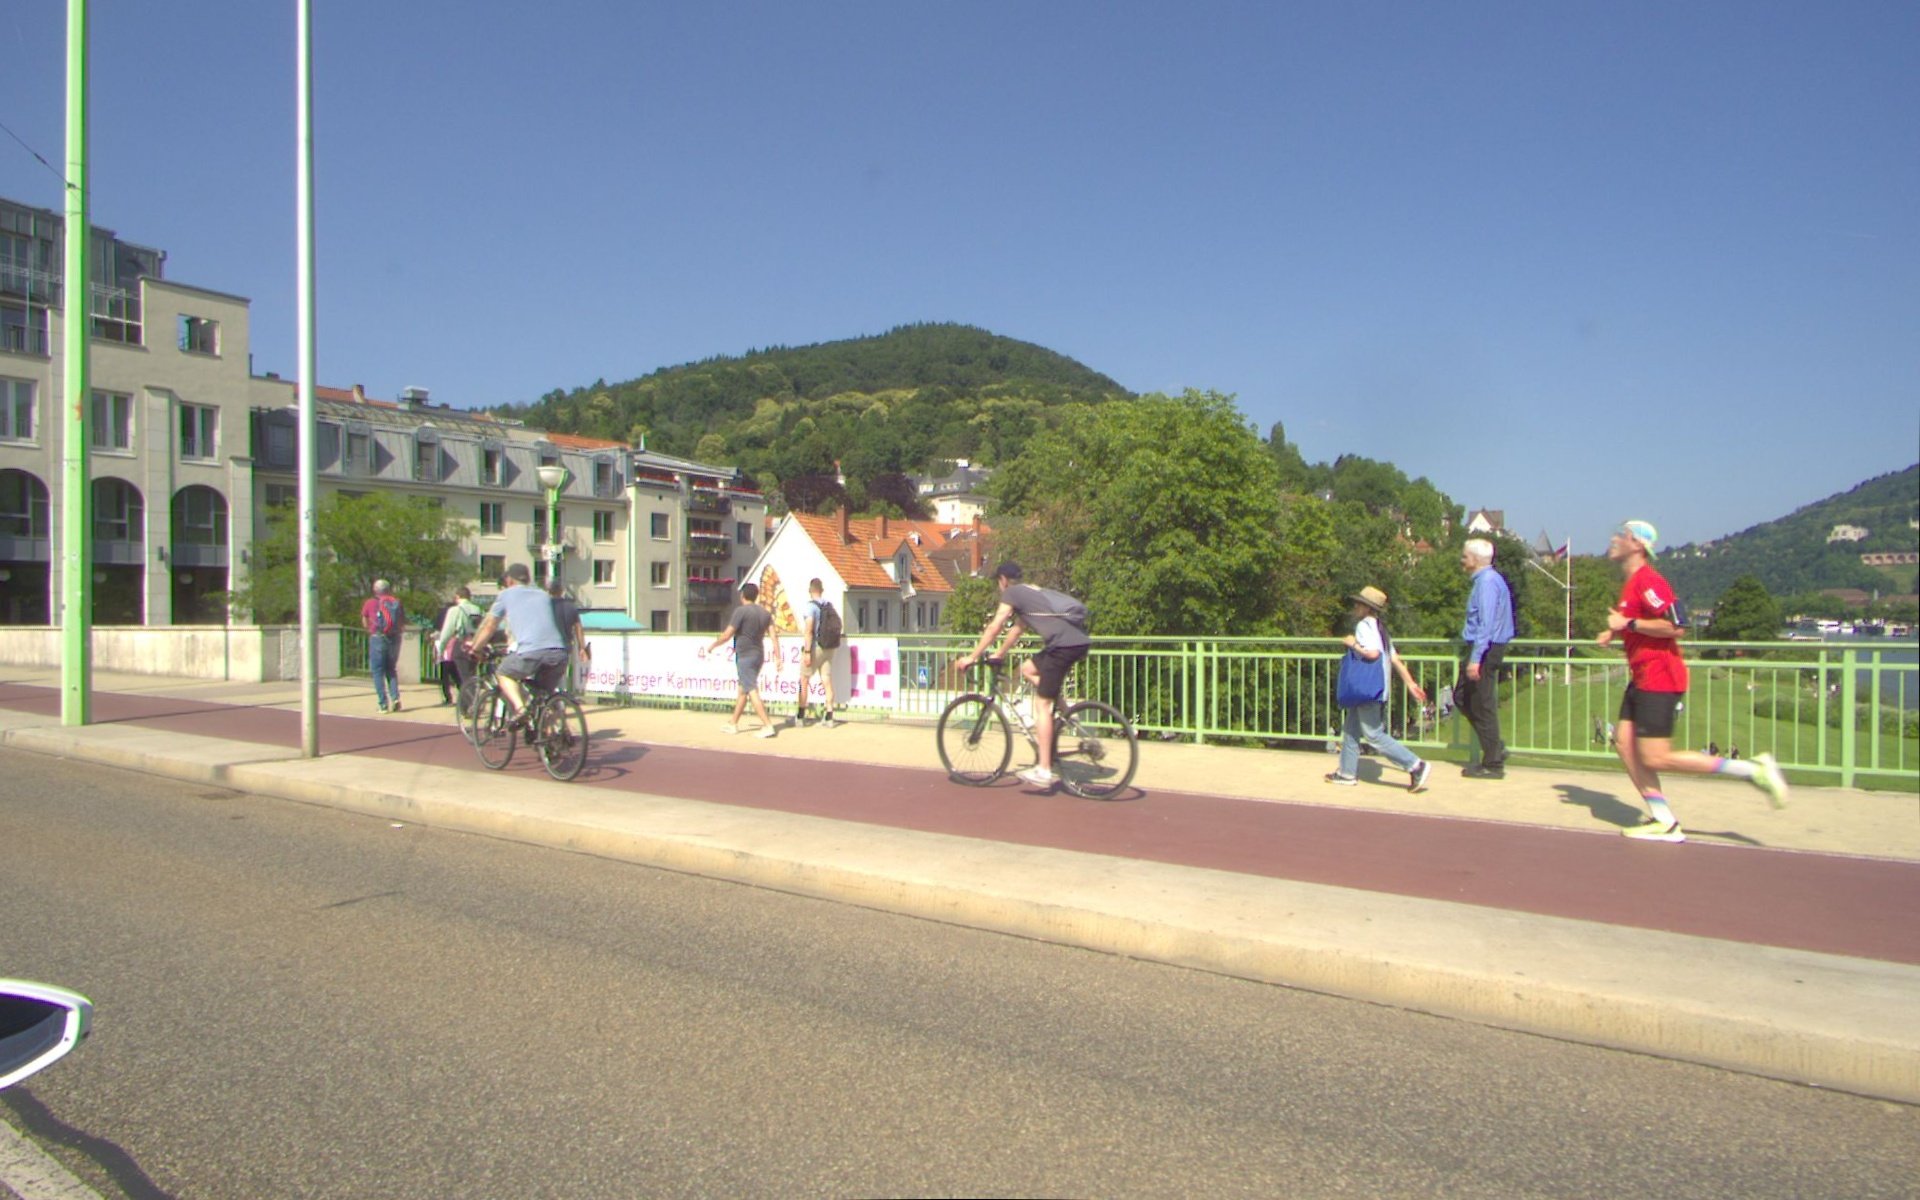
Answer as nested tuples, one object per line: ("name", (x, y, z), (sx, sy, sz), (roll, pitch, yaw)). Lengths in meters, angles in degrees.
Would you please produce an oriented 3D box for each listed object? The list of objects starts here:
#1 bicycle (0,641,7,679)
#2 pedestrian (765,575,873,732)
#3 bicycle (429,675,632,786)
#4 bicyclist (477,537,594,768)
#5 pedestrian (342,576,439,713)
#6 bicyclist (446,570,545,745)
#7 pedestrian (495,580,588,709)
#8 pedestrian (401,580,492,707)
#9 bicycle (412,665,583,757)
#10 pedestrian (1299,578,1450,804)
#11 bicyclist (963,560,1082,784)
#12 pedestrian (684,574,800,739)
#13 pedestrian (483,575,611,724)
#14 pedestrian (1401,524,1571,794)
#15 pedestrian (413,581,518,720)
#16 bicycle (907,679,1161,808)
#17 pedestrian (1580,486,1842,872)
("bicycle", (-20.363, 1.235, 20.739), (1.637, 0.776, 0.512), (0, 1, 33))
("pedestrian", (-1.641, 0.594, 11.679), (1.001, 1.741, 0.738), (0, 1, 32))
("bicycle", (-3.670, 1.071, 8.506), (1.838, 0.776, 0.593), (-1, 1, 30))
("bicyclist", (-3.566, 0.425, 8.424), (0.691, 1.844, 0.586), (0, 1, 30))
("pedestrian", (-7.908, 0.591, 13.902), (1.001, 1.826, 0.737), (0, 2, 32))
("bicyclist", (-4.642, 0.552, 10.013), (0.691, 1.672, 0.586), (0, 1, 30))
("pedestrian", (-5.962, 0.613, 14.271), (1.001, 1.770, 0.737), (0, 2, 32))
("pedestrian", (-7.553, 0.616, 14.732), (1.001, 1.801, 0.737), (0, 2, 32))
("bicycle", (-4.648, 1.076, 10.029), (1.838, 0.776, 0.593), (-1, 1, 30))
("pedestrian", (3.094, 0.624, 7.456), (0.919, 1.550, 0.827), (0, 2, 32))
("bicyclist", (0.472, 0.509, 7.471), (0.691, 1.579, 0.586), (0, 1, 30))
("pedestrian", (-2.410, 0.594, 11.108), (1.001, 1.741, 0.737), (0, 2, 32))
("pedestrian", (-5.296, 0.595, 12.850), (1.190, 1.801, 0.975), (0, 2, 32))
("pedestrian", (4.108, 0.426, 7.808), (1.121, 1.923, 0.924), (0, 1, 32))
("pedestrian", (-6.494, 0.634, 13.164), (1.057, 1.741, 0.753), (0, 2, 32))
("bicycle", (0.527, 1.023, 7.454), (1.804, 0.776, 0.593), (-1, 1, 30))
("pedestrian", (4.186, 0.404, 5.692), (1.111, 1.950, 0.809), (0, 1, 32))
